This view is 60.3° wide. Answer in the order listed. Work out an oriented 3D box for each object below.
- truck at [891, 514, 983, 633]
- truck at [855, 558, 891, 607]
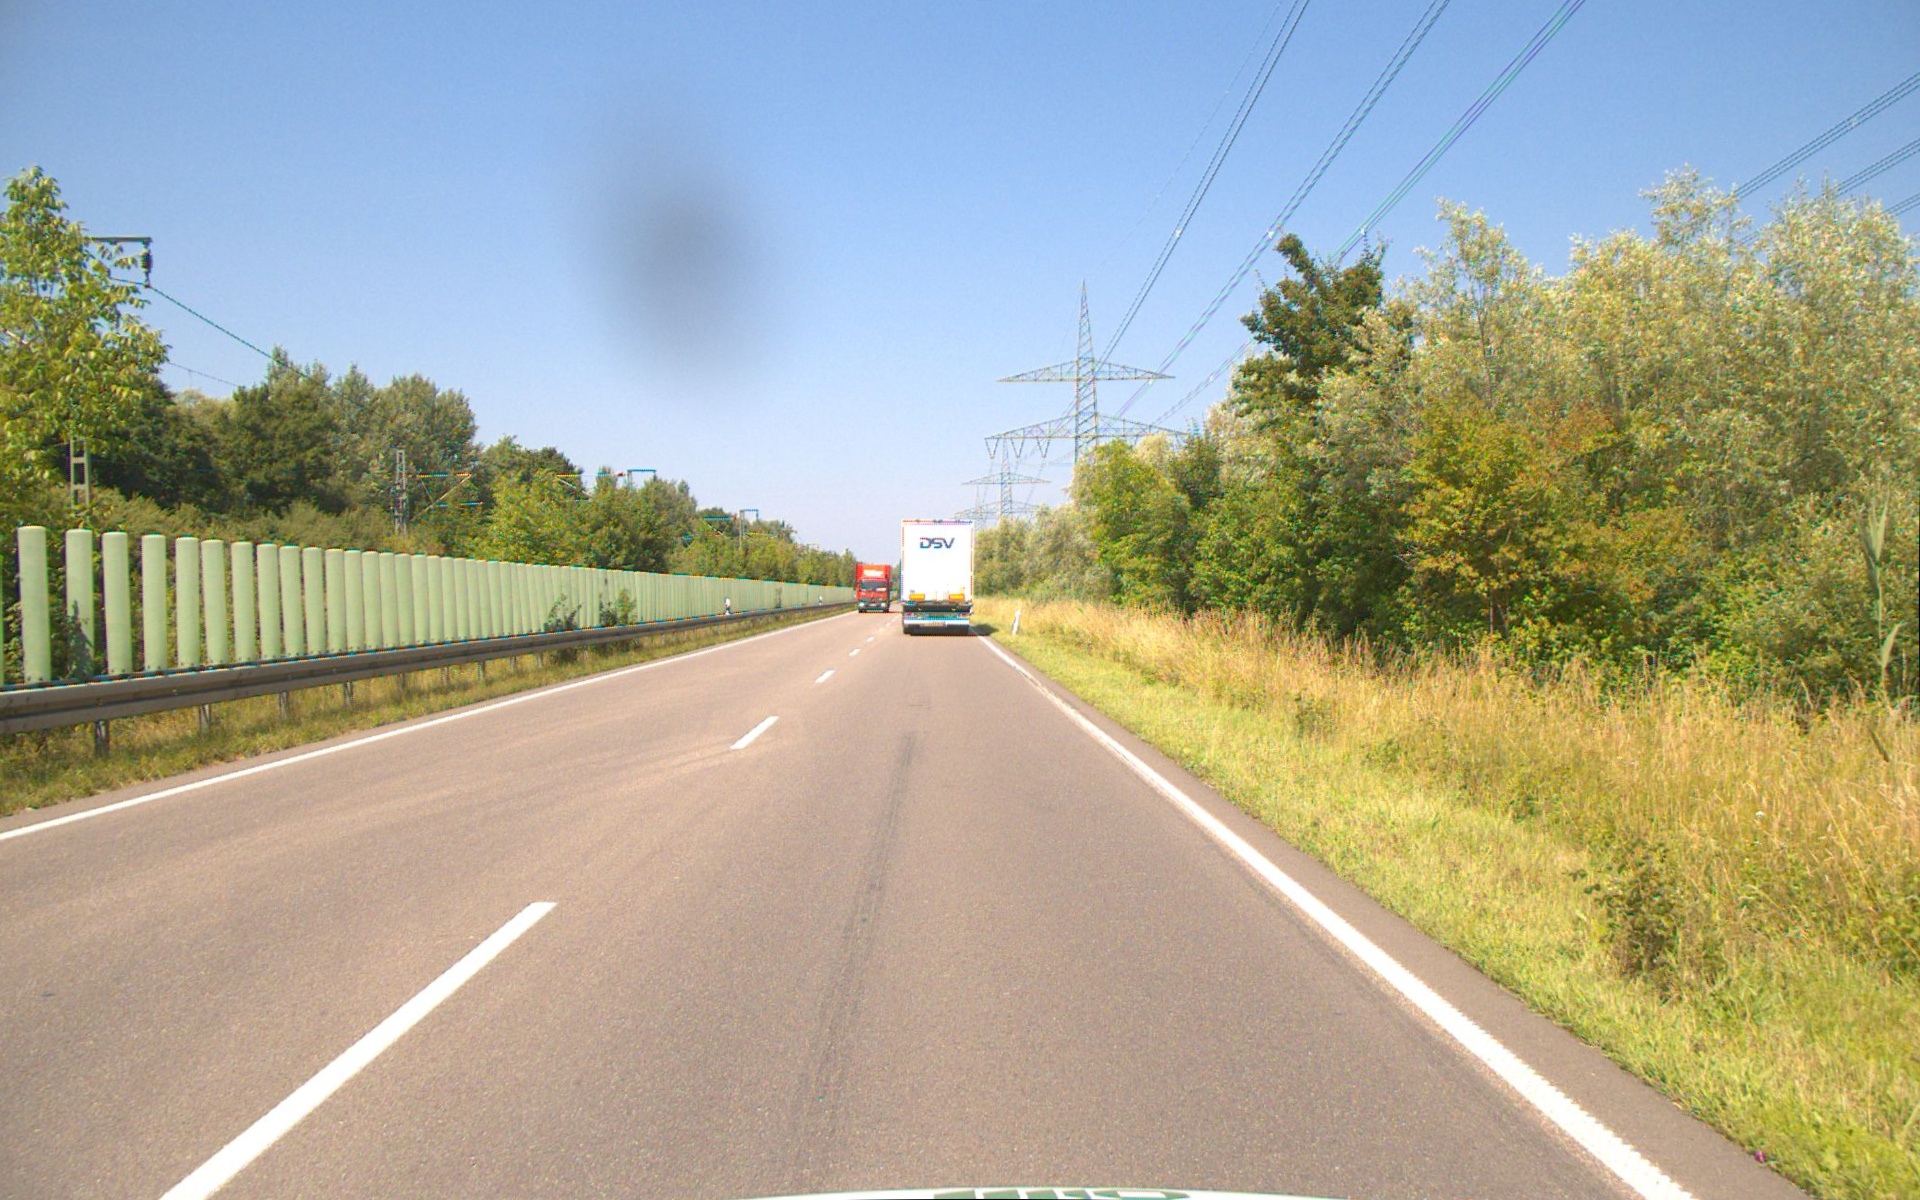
[{"bbox_3d":[-0.967,-0.948,62.945,3.128,4.113,12.003,0,0,-2],"label":"truck"},{"bbox_3d":[-6.664,-1.325,127.845,2.679,3.662,9.522,0,0,-3],"label":"truck"}]
